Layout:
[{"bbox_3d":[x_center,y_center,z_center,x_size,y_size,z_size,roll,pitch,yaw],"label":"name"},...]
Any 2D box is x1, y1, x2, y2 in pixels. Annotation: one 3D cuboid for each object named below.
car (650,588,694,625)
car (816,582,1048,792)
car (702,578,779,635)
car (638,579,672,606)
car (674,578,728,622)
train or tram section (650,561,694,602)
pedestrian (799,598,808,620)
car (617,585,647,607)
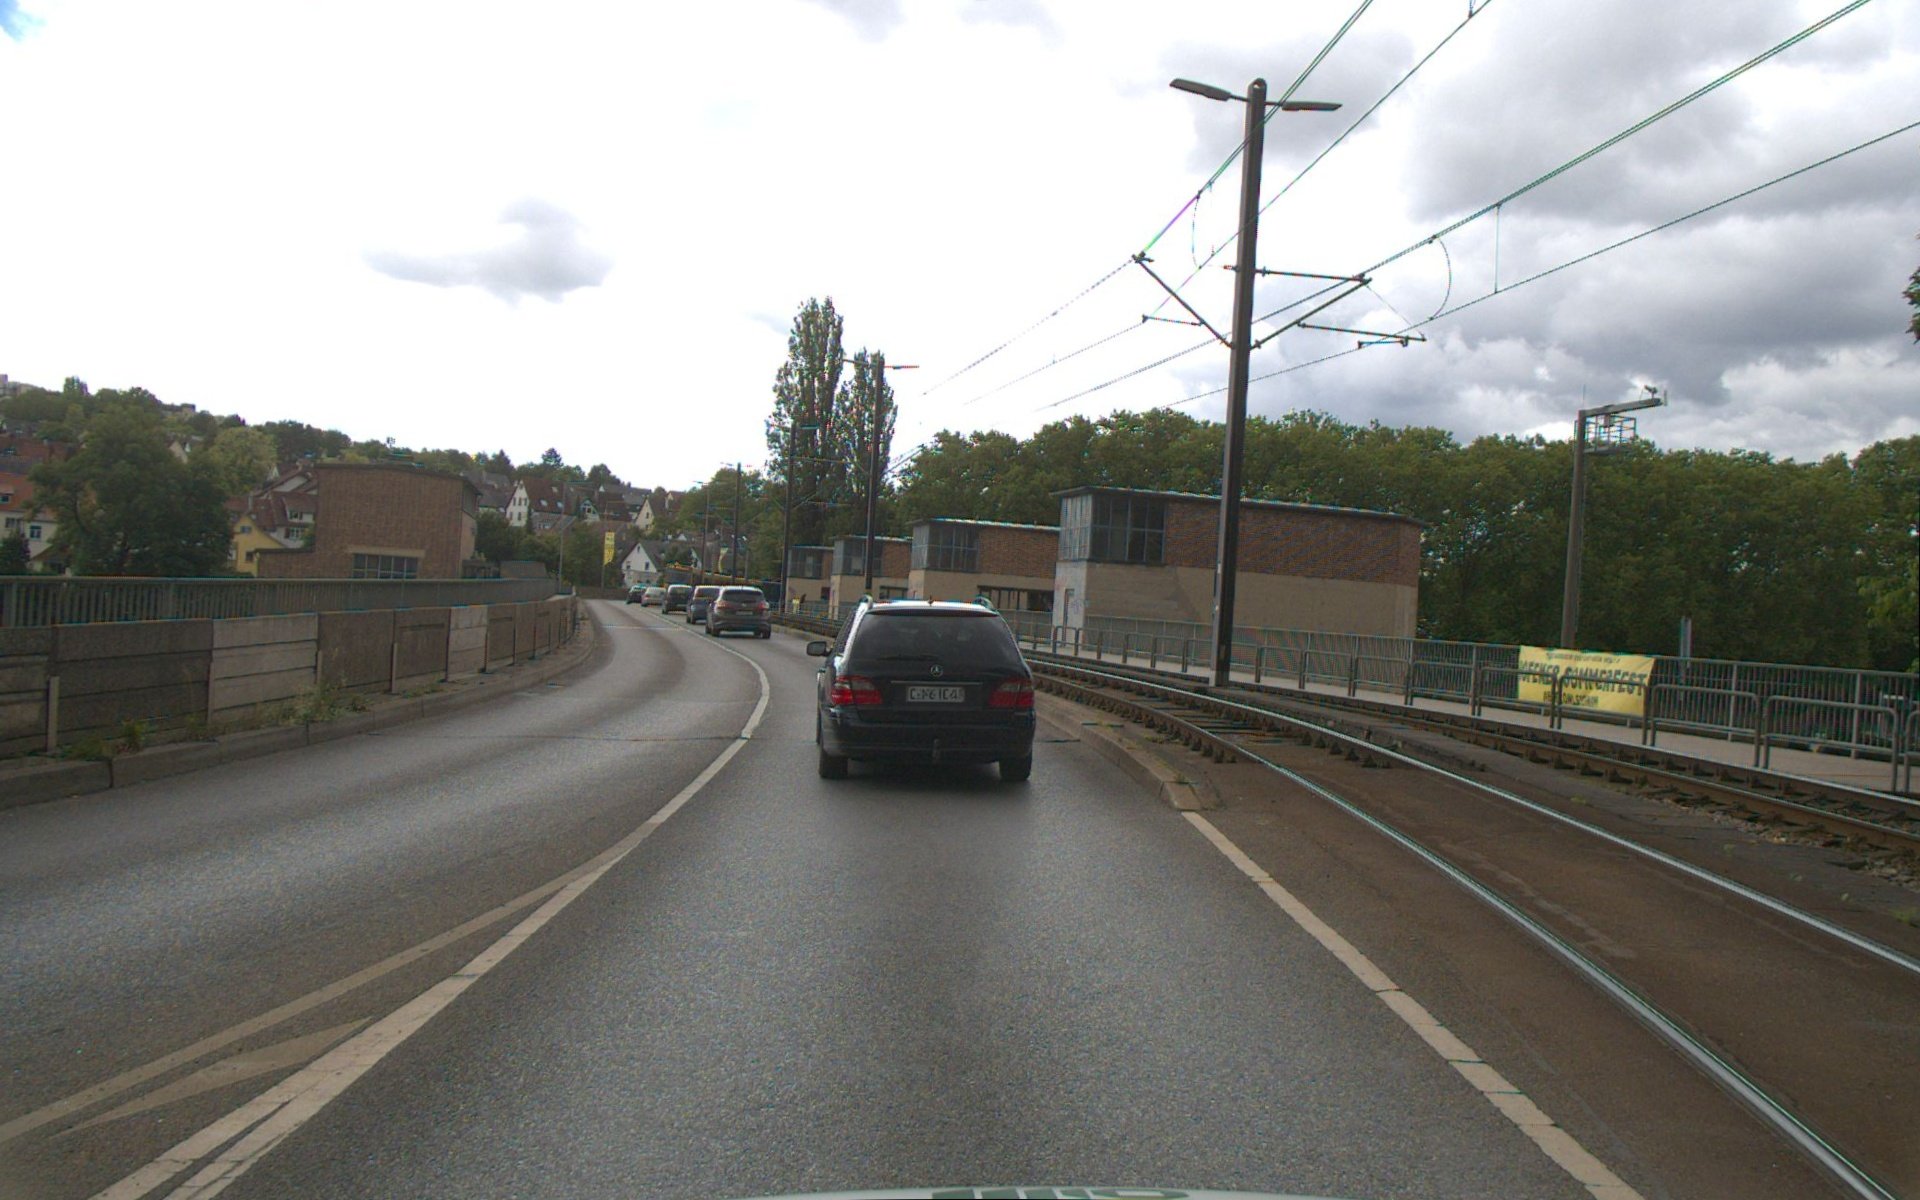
[{"bbox_3d":[-14.615,0.308,83.796,1.959,1.702,4.527,1,1,-12],"label":"car"},{"bbox_3d":[-0.291,0.640,14.835,1.723,1.542,4.441,2,1,-2],"label":"car"},{"bbox_3d":[-6.790,0.175,50.802,1.741,1.582,4.223,3,0,-15],"label":"car"},{"bbox_3d":[-20.184,-0.503,109.252,1.959,1.598,4.890,4,0,-12],"label":"car"},{"bbox_3d":[-10.272,-0.026,65.418,1.958,1.591,4.985,0,1,-11],"label":"car"},{"bbox_3d":[-27.178,-1.700,155.642,2.833,3.571,18.600,1,0,-13],"label":"train or tram section"},{"bbox_3d":[-12.016,0.680,126.916,0.567,1.638,0.611,3,-1,-13],"label":"pedestrian"},{"bbox_3d":[-26.488,-0.319,133.598,1.961,1.598,4.885,4,0,-15],"label":"car"}]
